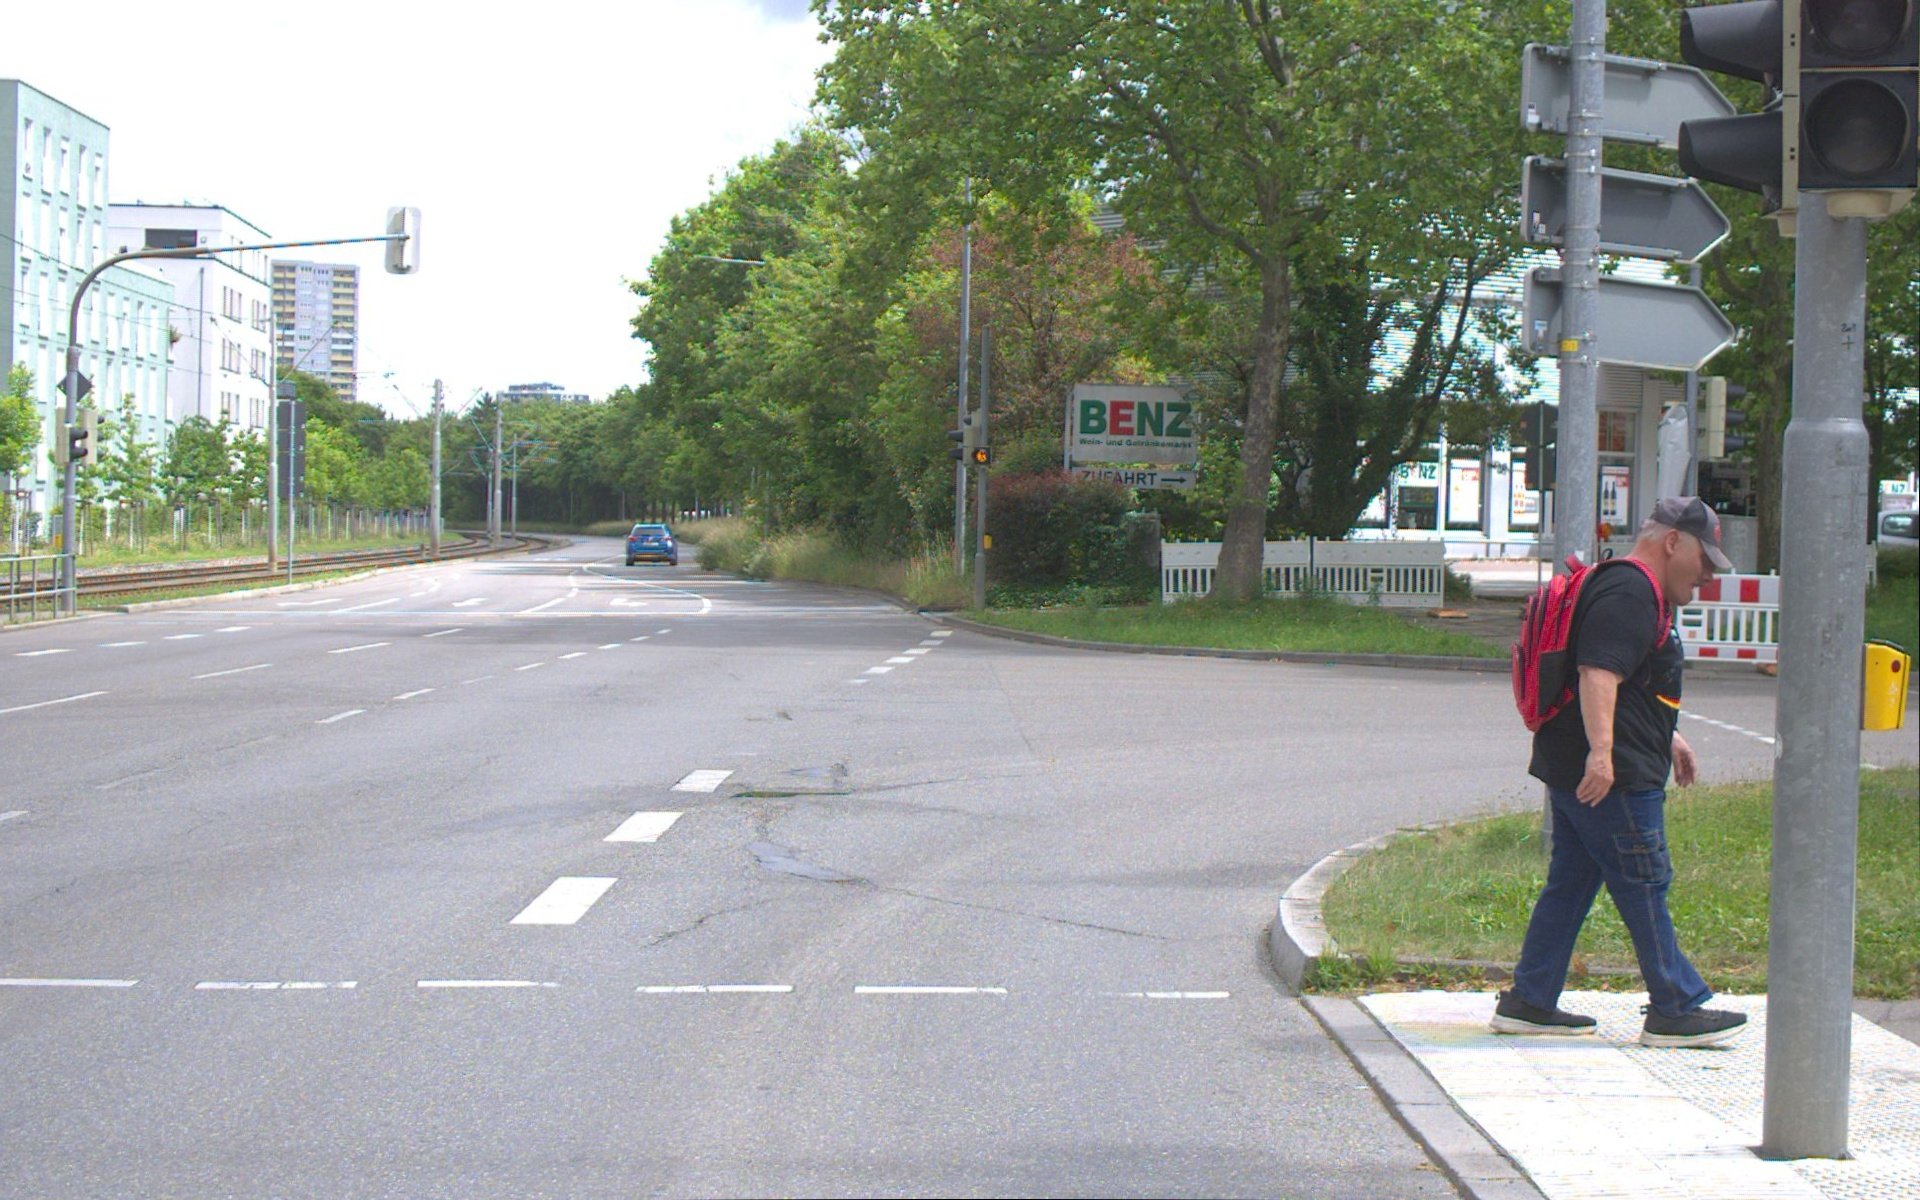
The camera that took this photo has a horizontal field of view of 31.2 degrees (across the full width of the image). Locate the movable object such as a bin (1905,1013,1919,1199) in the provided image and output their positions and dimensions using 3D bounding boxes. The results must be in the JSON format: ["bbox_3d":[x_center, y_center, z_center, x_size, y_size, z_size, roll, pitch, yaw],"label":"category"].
[{"bbox_3d":[2.007,1.044,5.463,0.795,0.659,0.778,1,1,0],"label":"movable object such as a bin"}]

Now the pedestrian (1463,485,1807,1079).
[{"bbox_3d":[1.939,0.477,9.795,0.893,1.591,0.907,1,1,14],"label":"pedestrian"}]

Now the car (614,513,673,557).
[{"bbox_3d":[-11.066,-2.275,119.981,1.982,1.481,4.492,0,1,-6],"label":"car"}]

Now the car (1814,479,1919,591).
[{"bbox_3d":[17.744,-1.182,62.567,1.993,2.007,4.000,0,2,-32],"label":"car"}]
